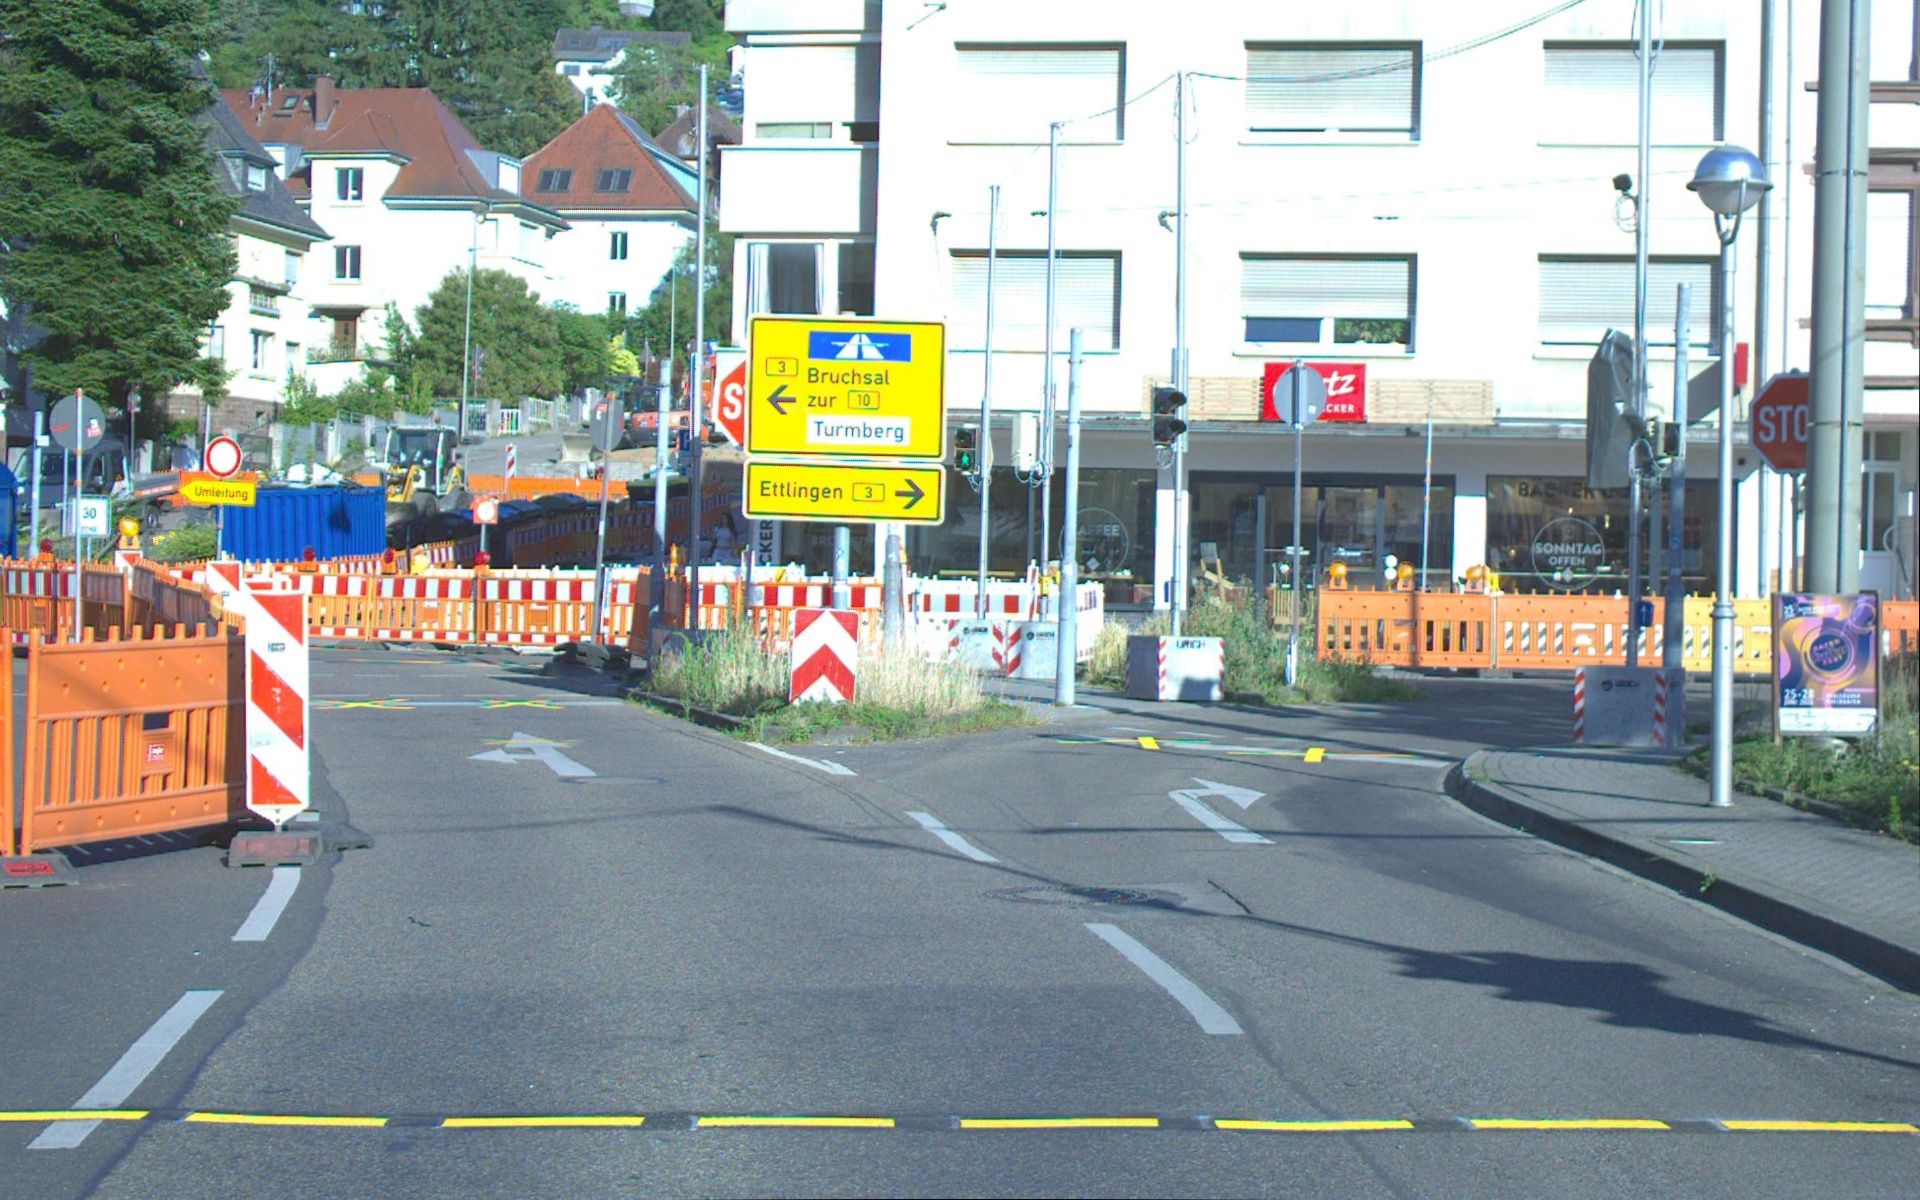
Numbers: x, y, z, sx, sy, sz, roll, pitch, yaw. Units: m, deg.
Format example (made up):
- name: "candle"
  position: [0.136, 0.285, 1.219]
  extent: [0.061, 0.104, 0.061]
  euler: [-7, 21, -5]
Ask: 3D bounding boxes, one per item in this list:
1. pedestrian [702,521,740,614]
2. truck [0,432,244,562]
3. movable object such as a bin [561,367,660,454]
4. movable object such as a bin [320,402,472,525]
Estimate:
- name: "pedestrian"
  position: [-4.573, -0.625, 65.754]
  extent: [0.640, 1.754, 0.718]
  euler: [1, 1, -1]
- name: "truck"
  position: [-17.222, -1.987, 68.638]
  extent: [2.357, 2.407, 9.147]
  euler: [1, 1, 11]
- name: "movable object such as a bin"
  position: [-11.546, -6.250, 113.731]
  extent: [2.191, 2.681, 3.998]
  euler: [1, 1, 10]
- name: "movable object such as a bin"
  position: [-12.974, -3.124, 79.318]
  extent: [2.191, 2.681, 3.998]
  euler: [1, 1, 10]
